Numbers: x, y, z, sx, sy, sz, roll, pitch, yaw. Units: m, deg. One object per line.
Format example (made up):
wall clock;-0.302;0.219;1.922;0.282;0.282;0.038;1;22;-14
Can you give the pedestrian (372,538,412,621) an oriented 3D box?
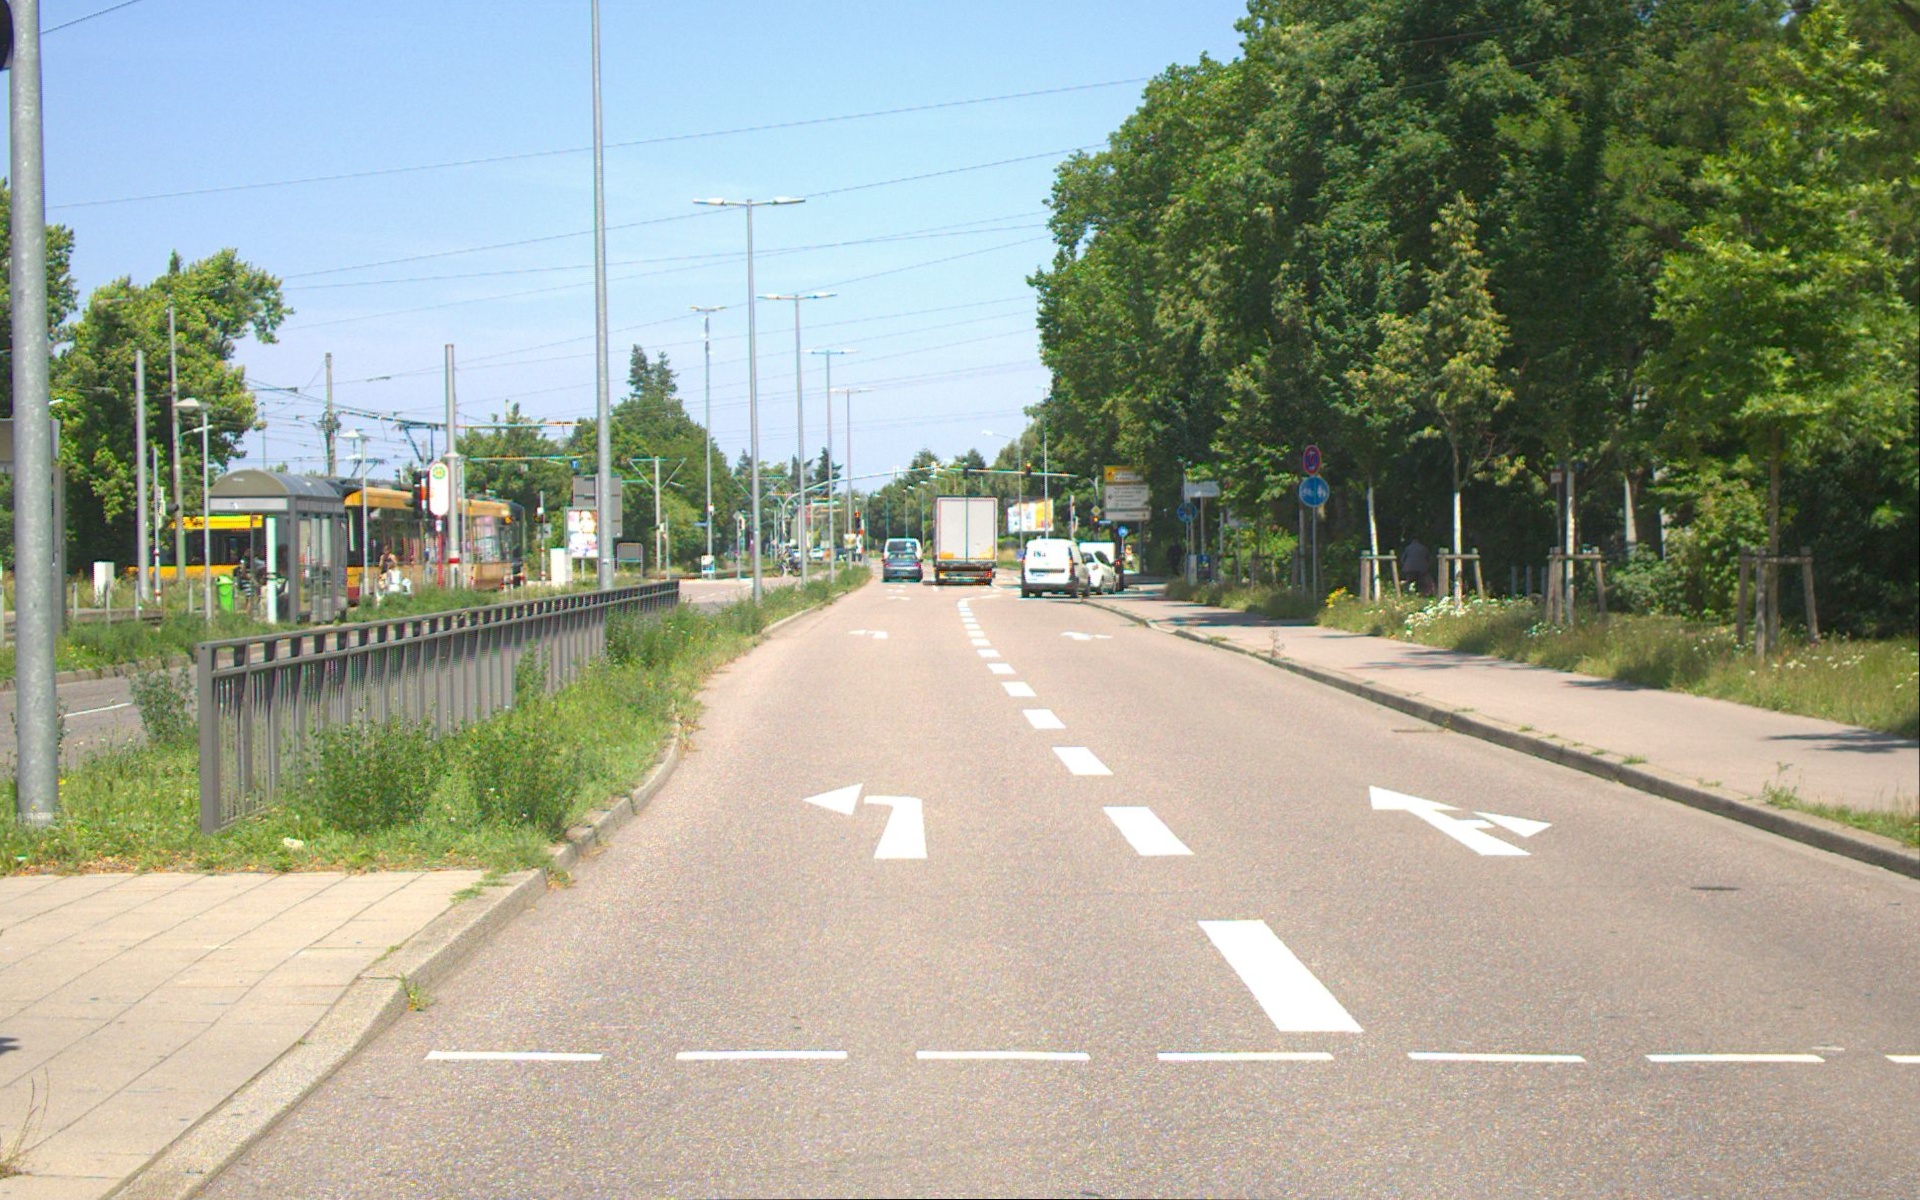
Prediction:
pedestrian;-13.823;-0.512;83.659;0.815;2.007;0.938;0;1;-1

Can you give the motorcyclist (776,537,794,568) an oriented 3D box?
motorcyclist;-10.126;-2.759;199.272;0.924;1.829;0.850;-1;1;-12

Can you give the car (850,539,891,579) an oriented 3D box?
car;-4.563;-2.079;175.171;1.993;2.007;4.000;0;1;-1

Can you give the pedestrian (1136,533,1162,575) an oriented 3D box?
pedestrian;8.984;-2.193;163.438;1.185;2.007;1.214;0;1;0

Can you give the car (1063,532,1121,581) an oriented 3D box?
car;4.540;-1.519;118.794;1.779;1.663;4.000;0;1;-1

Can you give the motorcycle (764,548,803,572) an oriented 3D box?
motorcycle;-10.235;-2.321;199.241;2.182;1.402;0.848;-1;1;-11

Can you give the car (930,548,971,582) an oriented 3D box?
car;-0.442;-1.561;153.623;1.811;1.459;4.000;0;1;-1

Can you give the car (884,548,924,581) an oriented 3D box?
car;-2.566;-1.655;157.890;1.811;1.459;4.000;0;1;-1

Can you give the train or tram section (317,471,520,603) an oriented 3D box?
train or tram section;-17.265;-2.052;112.510;2.957;3.736;30.036;0;1;-2

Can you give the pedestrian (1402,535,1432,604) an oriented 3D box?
pedestrian;9.530;-0.645;71.775;0.604;1.433;0.556;0;1;6

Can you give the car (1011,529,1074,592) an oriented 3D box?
car;2.502;-1.226;105.521;1.779;1.897;4.000;0;1;-1

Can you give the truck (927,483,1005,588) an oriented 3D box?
truck;0.204;-2.723;146.058;3.205;4.344;6.561;0;1;-1

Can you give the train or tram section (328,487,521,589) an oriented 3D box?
train or tram section;-22.652;-2.570;142.648;2.930;3.776;33.098;0;1;-17

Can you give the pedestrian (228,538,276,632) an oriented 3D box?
pedestrian;-14.263;-0.306;69.307;0.785;1.862;0.817;0;1;-1

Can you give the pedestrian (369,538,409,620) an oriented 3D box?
pedestrian;-14.101;-0.529;84.953;0.815;2.007;0.938;0;1;-1

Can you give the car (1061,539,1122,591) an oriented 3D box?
car;4.291;-1.154;112.451;1.779;1.663;4.000;0;1;-1
